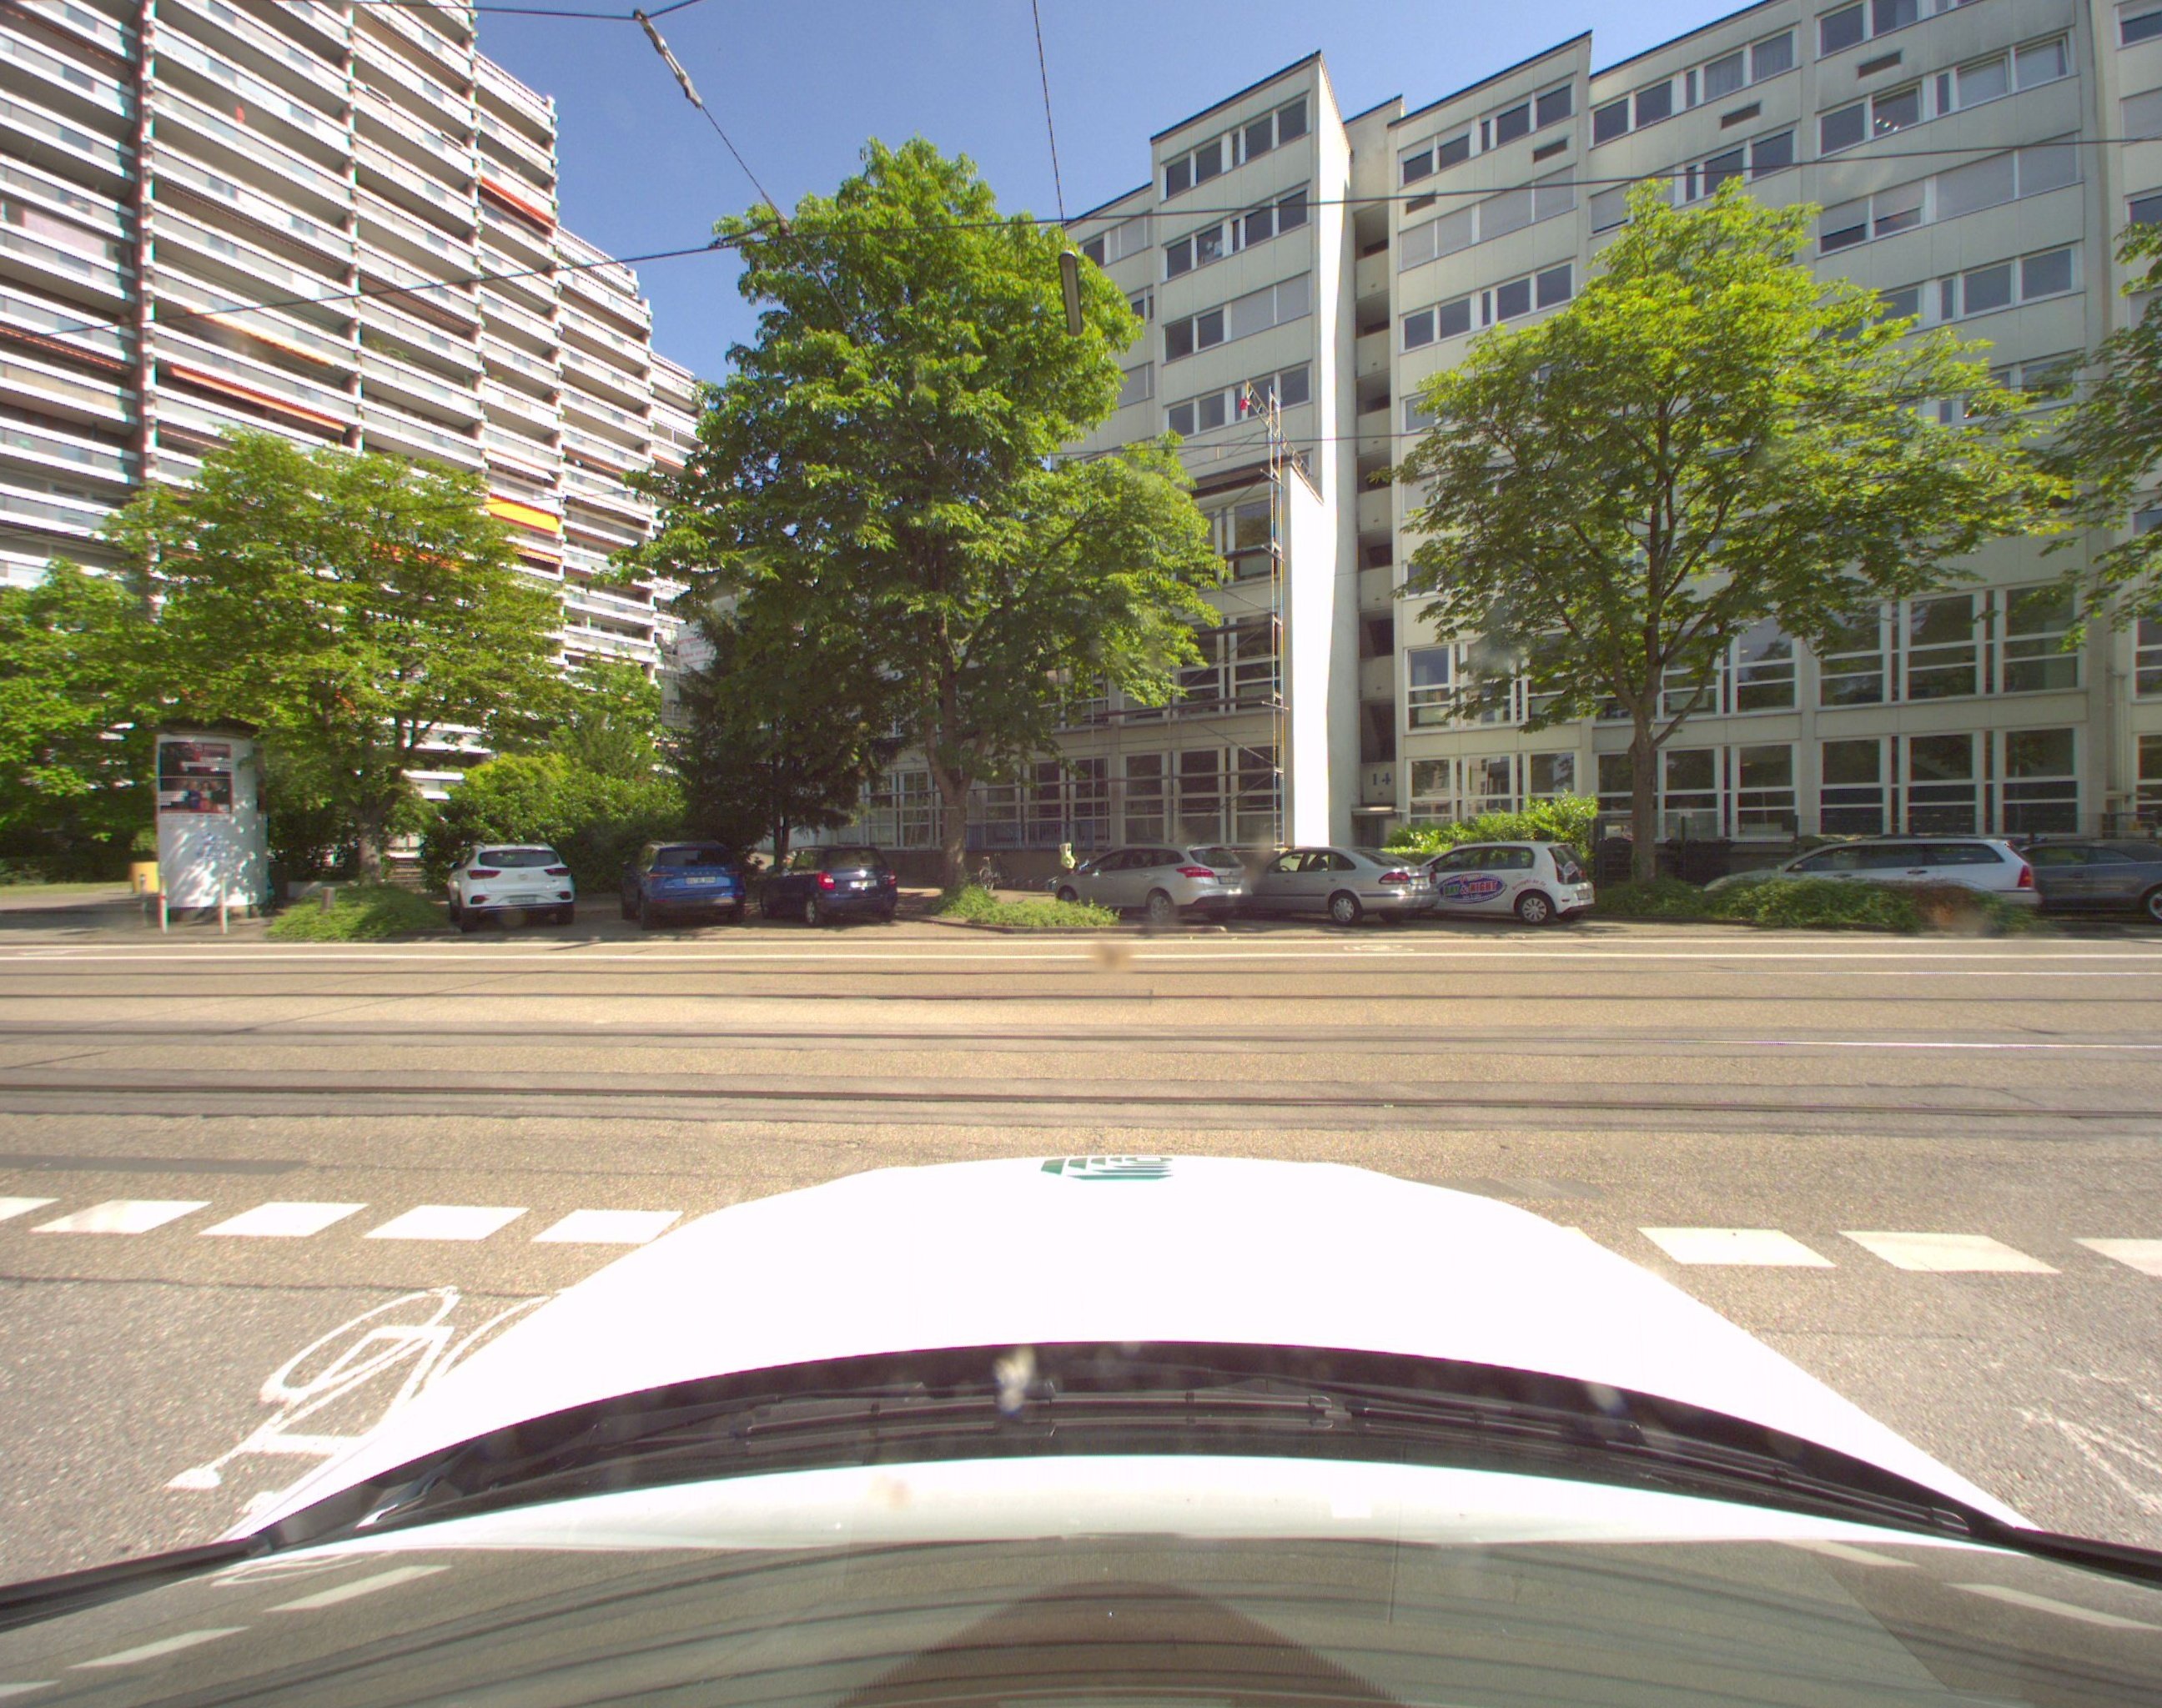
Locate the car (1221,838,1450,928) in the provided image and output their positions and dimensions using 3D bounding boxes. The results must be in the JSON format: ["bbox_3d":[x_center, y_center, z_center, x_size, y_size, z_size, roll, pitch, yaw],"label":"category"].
[{"bbox_3d":[4.683,0.479,15.437,1.621,1.486,3.900,-1,0,-38],"label":"car"}]

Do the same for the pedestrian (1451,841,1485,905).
[{"bbox_3d":[8.926,0.433,18.783,0.615,1.461,0.426,-1,0,14],"label":"pedestrian"}]

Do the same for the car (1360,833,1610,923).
[{"bbox_3d":[7.505,0.433,15.439,1.621,1.486,3.899,-1,-1,-39],"label":"car"}]

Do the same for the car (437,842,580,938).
[{"bbox_3d":[-11.543,0.635,16.321,1.830,1.606,3.898,-4,2,-42],"label":"car"}]

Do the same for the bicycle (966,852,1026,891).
[{"bbox_3d":[-2.465,0.495,23.821,0.734,1.086,2.215,-1,0,24],"label":"bicycle"}]

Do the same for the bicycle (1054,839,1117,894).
[{"bbox_3d":[0.151,0.331,22.677,0.655,1.453,2.104,-1,0,36],"label":"bicycle"}]

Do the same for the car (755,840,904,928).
[{"bbox_3d":[-5.037,0.530,16.062,1.585,1.531,3.417,-1,0,-40],"label":"car"}]

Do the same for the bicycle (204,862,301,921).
[{"bbox_3d":[-18.911,0.846,18.603,1.611,1.308,0.547,-1,0,-1],"label":"bicycle"}]

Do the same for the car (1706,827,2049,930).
[{"bbox_3d":[14.209,0.413,14.825,1.567,1.604,4.291,0,-1,-43],"label":"car"}]

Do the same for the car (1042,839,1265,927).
[{"bbox_3d":[1.284,0.498,16.049,1.794,1.486,4.383,-1,0,-40],"label":"car"}]

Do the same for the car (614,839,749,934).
[{"bbox_3d":[-8.087,0.533,16.306,1.788,1.622,3.902,-2,2,-36],"label":"car"}]

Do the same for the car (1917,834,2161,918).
[{"bbox_3d":[17.502,0.346,14.253,1.567,1.357,3.899,-1,0,-40],"label":"car"}]
